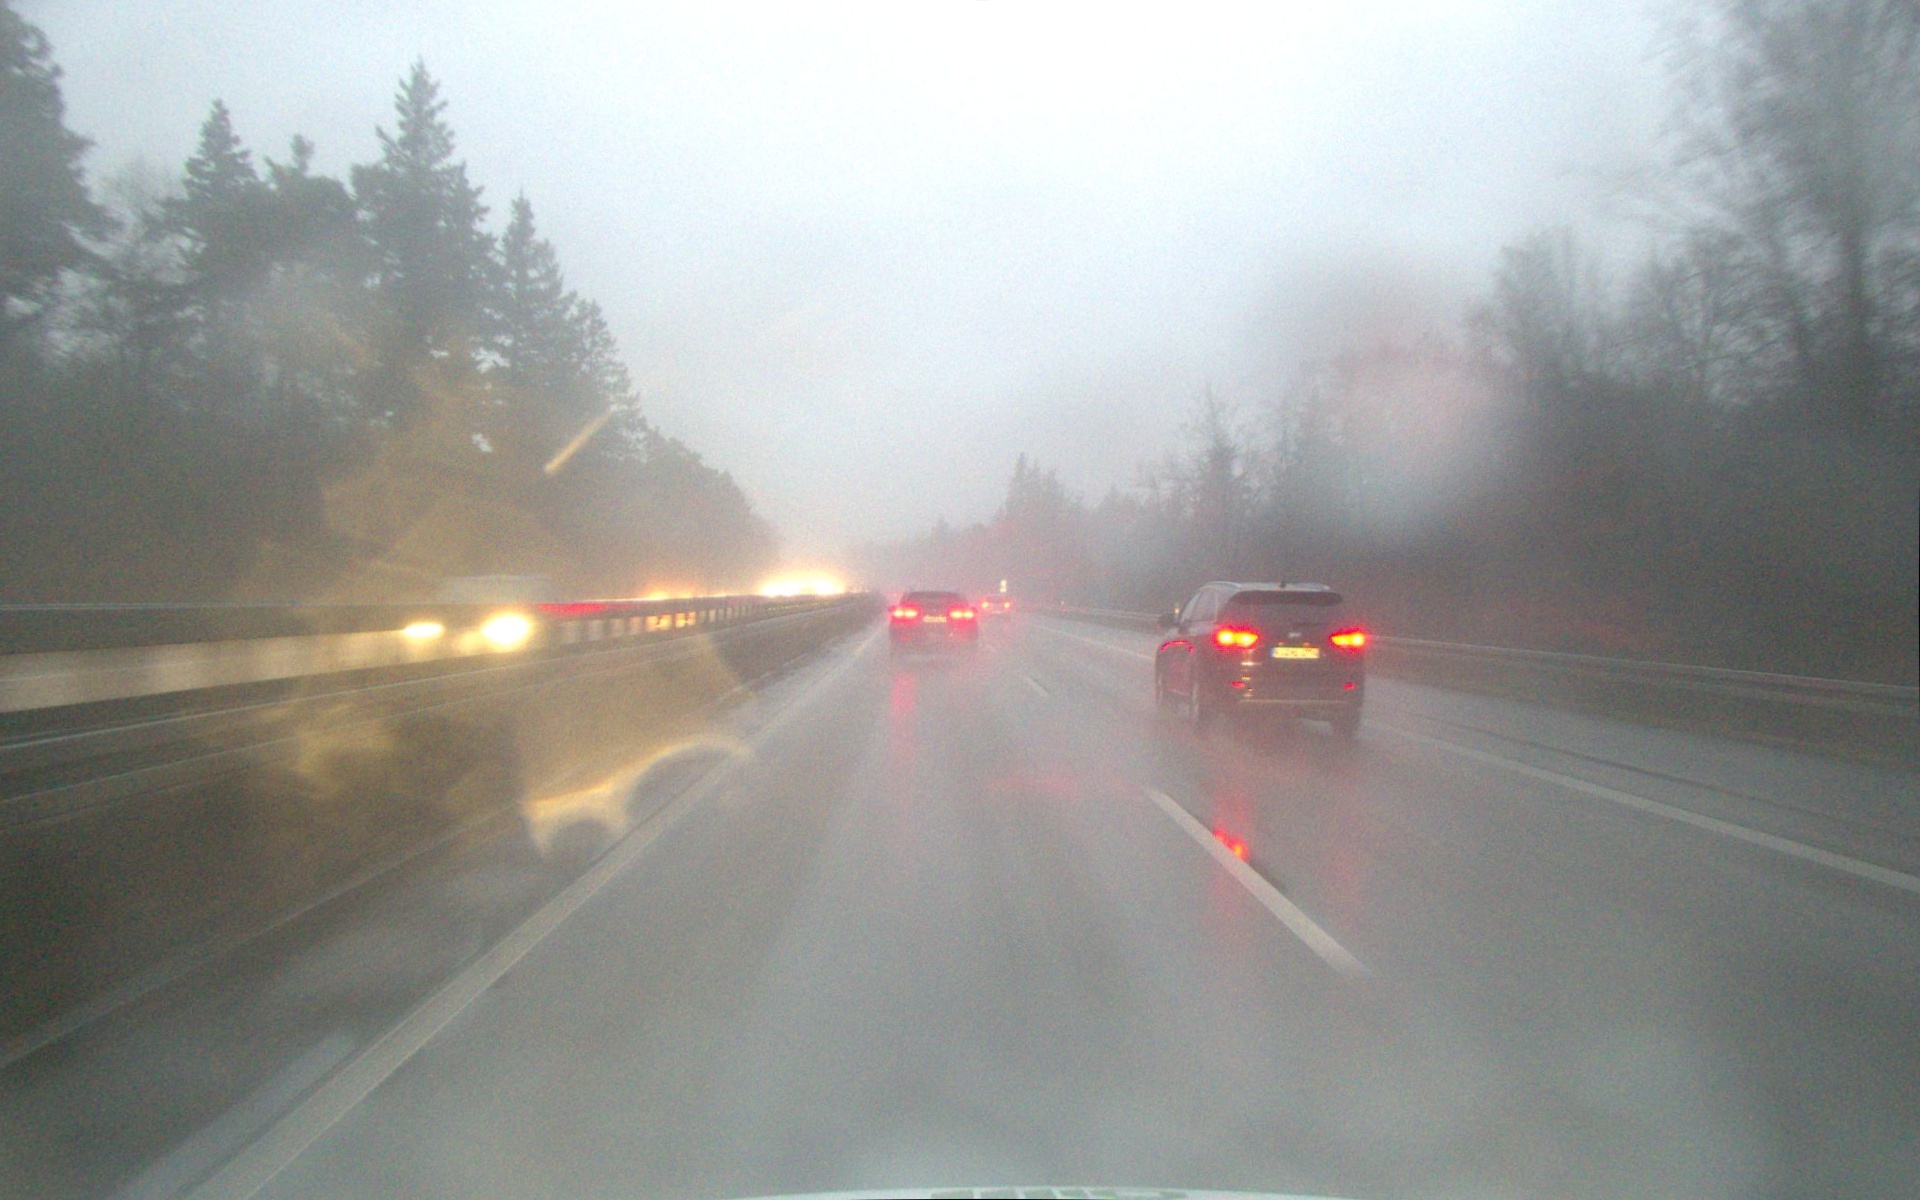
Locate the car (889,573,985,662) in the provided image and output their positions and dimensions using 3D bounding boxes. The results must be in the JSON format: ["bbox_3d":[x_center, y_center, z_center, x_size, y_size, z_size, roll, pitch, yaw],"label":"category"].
[{"bbox_3d":[-0.465,0.347,35.899,1.945,1.798,4.173,0,0,0],"label":"car"}]

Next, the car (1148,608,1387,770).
[{"bbox_3d":[3.645,0.997,20.462,2.028,1.727,4.460,1,0,-1],"label":"car"}]

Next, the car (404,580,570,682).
[{"bbox_3d":[-7.965,0.483,28.221,1.772,1.594,3.999,1,0,-2],"label":"car"}]
